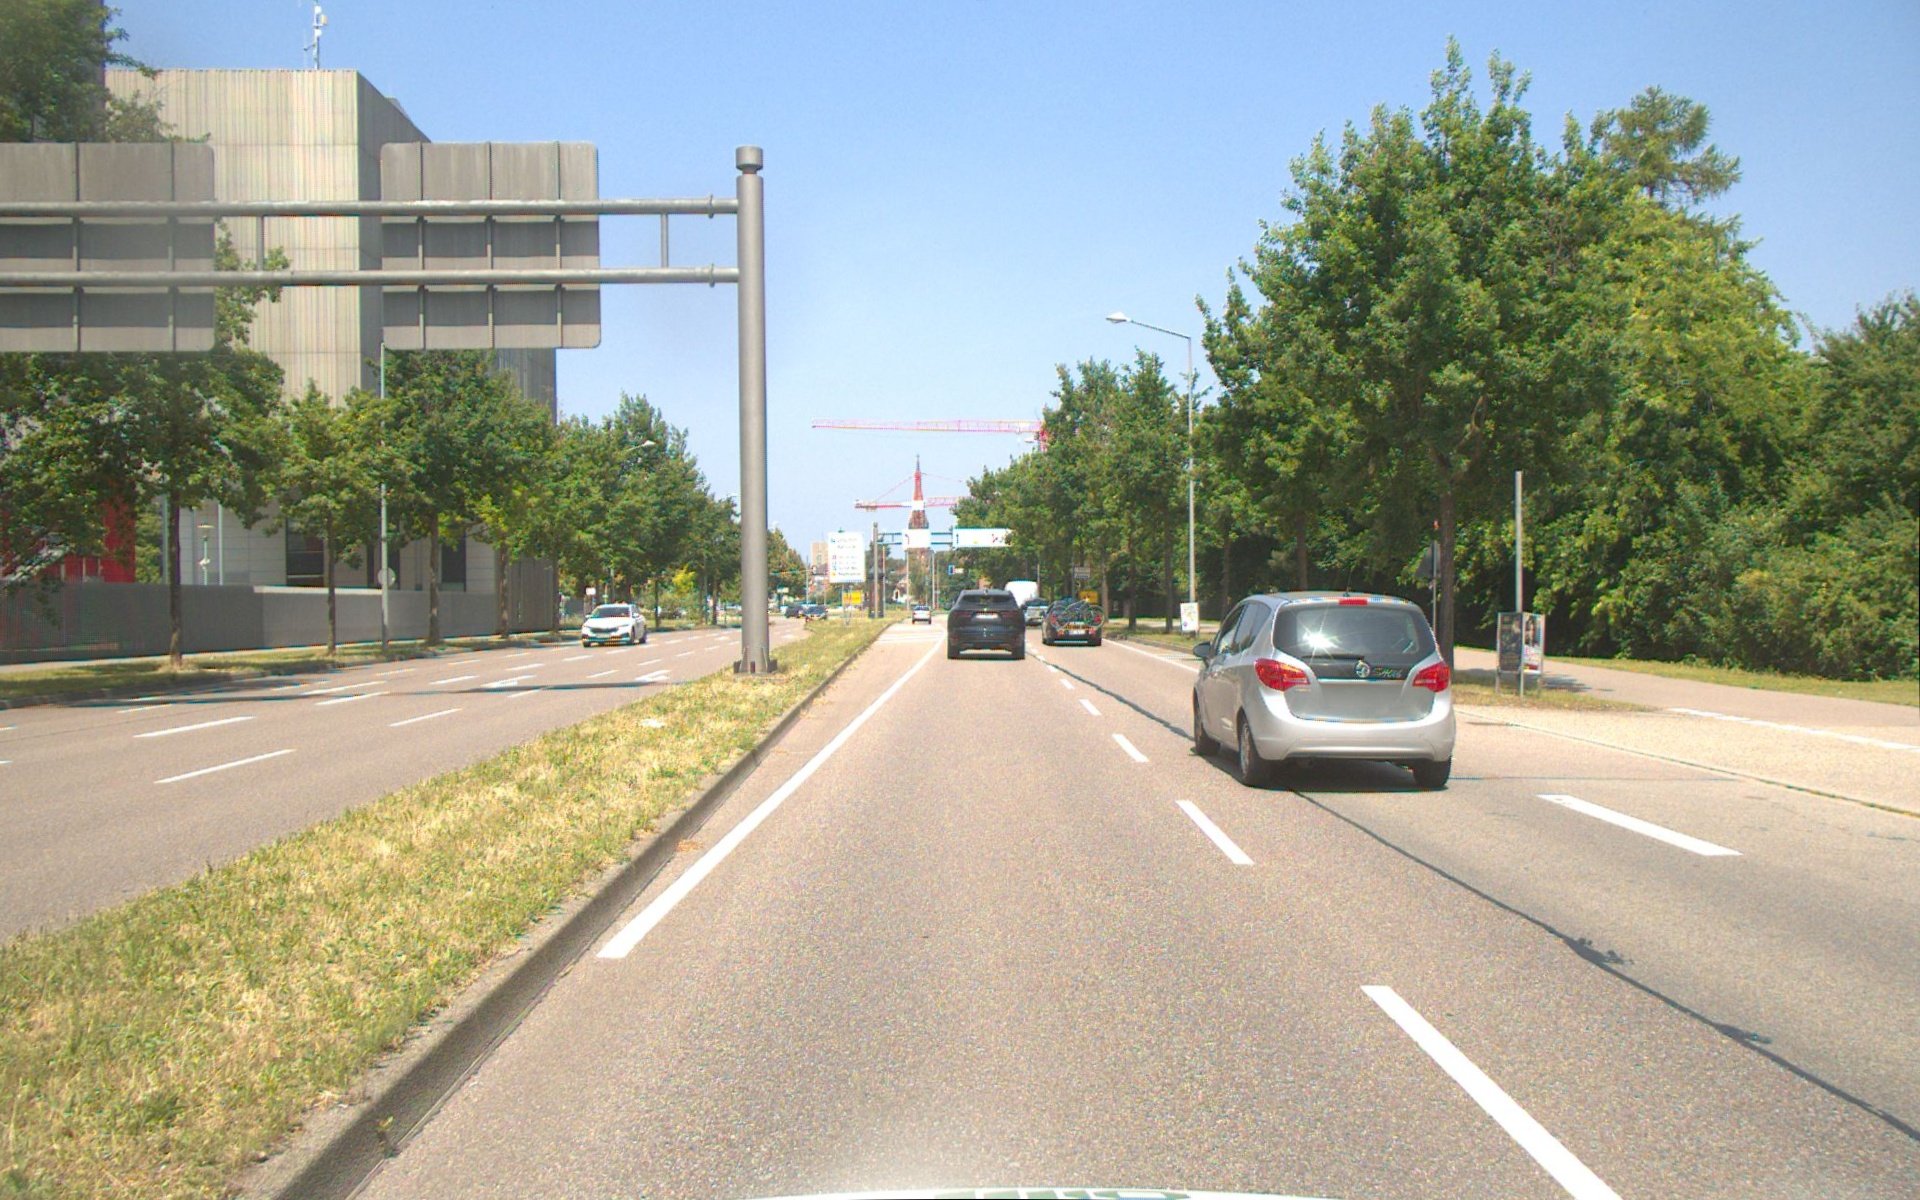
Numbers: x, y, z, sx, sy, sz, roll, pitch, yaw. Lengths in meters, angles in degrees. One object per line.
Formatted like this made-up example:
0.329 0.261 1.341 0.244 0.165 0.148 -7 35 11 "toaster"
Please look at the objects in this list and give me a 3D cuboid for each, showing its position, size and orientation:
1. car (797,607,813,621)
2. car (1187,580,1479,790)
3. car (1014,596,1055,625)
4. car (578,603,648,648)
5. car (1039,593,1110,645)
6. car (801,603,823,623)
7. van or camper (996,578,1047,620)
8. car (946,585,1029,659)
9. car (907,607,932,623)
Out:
-19.735 1.776 210.649 1.855 1.639 4.531 -1 0 -4 "car"
3.185 0.661 14.879 1.755 1.640 3.891 0 0 0 "car"
3.730 0.521 83.432 1.621 1.380 4.458 -1 0 -2 "car"
-12.438 0.884 59.492 1.774 1.452 4.356 -2 0 -3 "car"
3.618 0.594 52.795 1.973 1.544 4.460 -1 0 0 "car"
-11.966 1.041 133.872 1.674 1.497 3.938 -2 0 -3 "car"
3.532 -0.035 95.938 2.444 2.331 4.917 -1 0 -3 "van or camper"
0.641 0.517 40.994 1.957 1.719 4.033 0 0 0 "car"
-3.635 1.325 148.629 1.955 1.344 3.995 0 0 -6 "car"
